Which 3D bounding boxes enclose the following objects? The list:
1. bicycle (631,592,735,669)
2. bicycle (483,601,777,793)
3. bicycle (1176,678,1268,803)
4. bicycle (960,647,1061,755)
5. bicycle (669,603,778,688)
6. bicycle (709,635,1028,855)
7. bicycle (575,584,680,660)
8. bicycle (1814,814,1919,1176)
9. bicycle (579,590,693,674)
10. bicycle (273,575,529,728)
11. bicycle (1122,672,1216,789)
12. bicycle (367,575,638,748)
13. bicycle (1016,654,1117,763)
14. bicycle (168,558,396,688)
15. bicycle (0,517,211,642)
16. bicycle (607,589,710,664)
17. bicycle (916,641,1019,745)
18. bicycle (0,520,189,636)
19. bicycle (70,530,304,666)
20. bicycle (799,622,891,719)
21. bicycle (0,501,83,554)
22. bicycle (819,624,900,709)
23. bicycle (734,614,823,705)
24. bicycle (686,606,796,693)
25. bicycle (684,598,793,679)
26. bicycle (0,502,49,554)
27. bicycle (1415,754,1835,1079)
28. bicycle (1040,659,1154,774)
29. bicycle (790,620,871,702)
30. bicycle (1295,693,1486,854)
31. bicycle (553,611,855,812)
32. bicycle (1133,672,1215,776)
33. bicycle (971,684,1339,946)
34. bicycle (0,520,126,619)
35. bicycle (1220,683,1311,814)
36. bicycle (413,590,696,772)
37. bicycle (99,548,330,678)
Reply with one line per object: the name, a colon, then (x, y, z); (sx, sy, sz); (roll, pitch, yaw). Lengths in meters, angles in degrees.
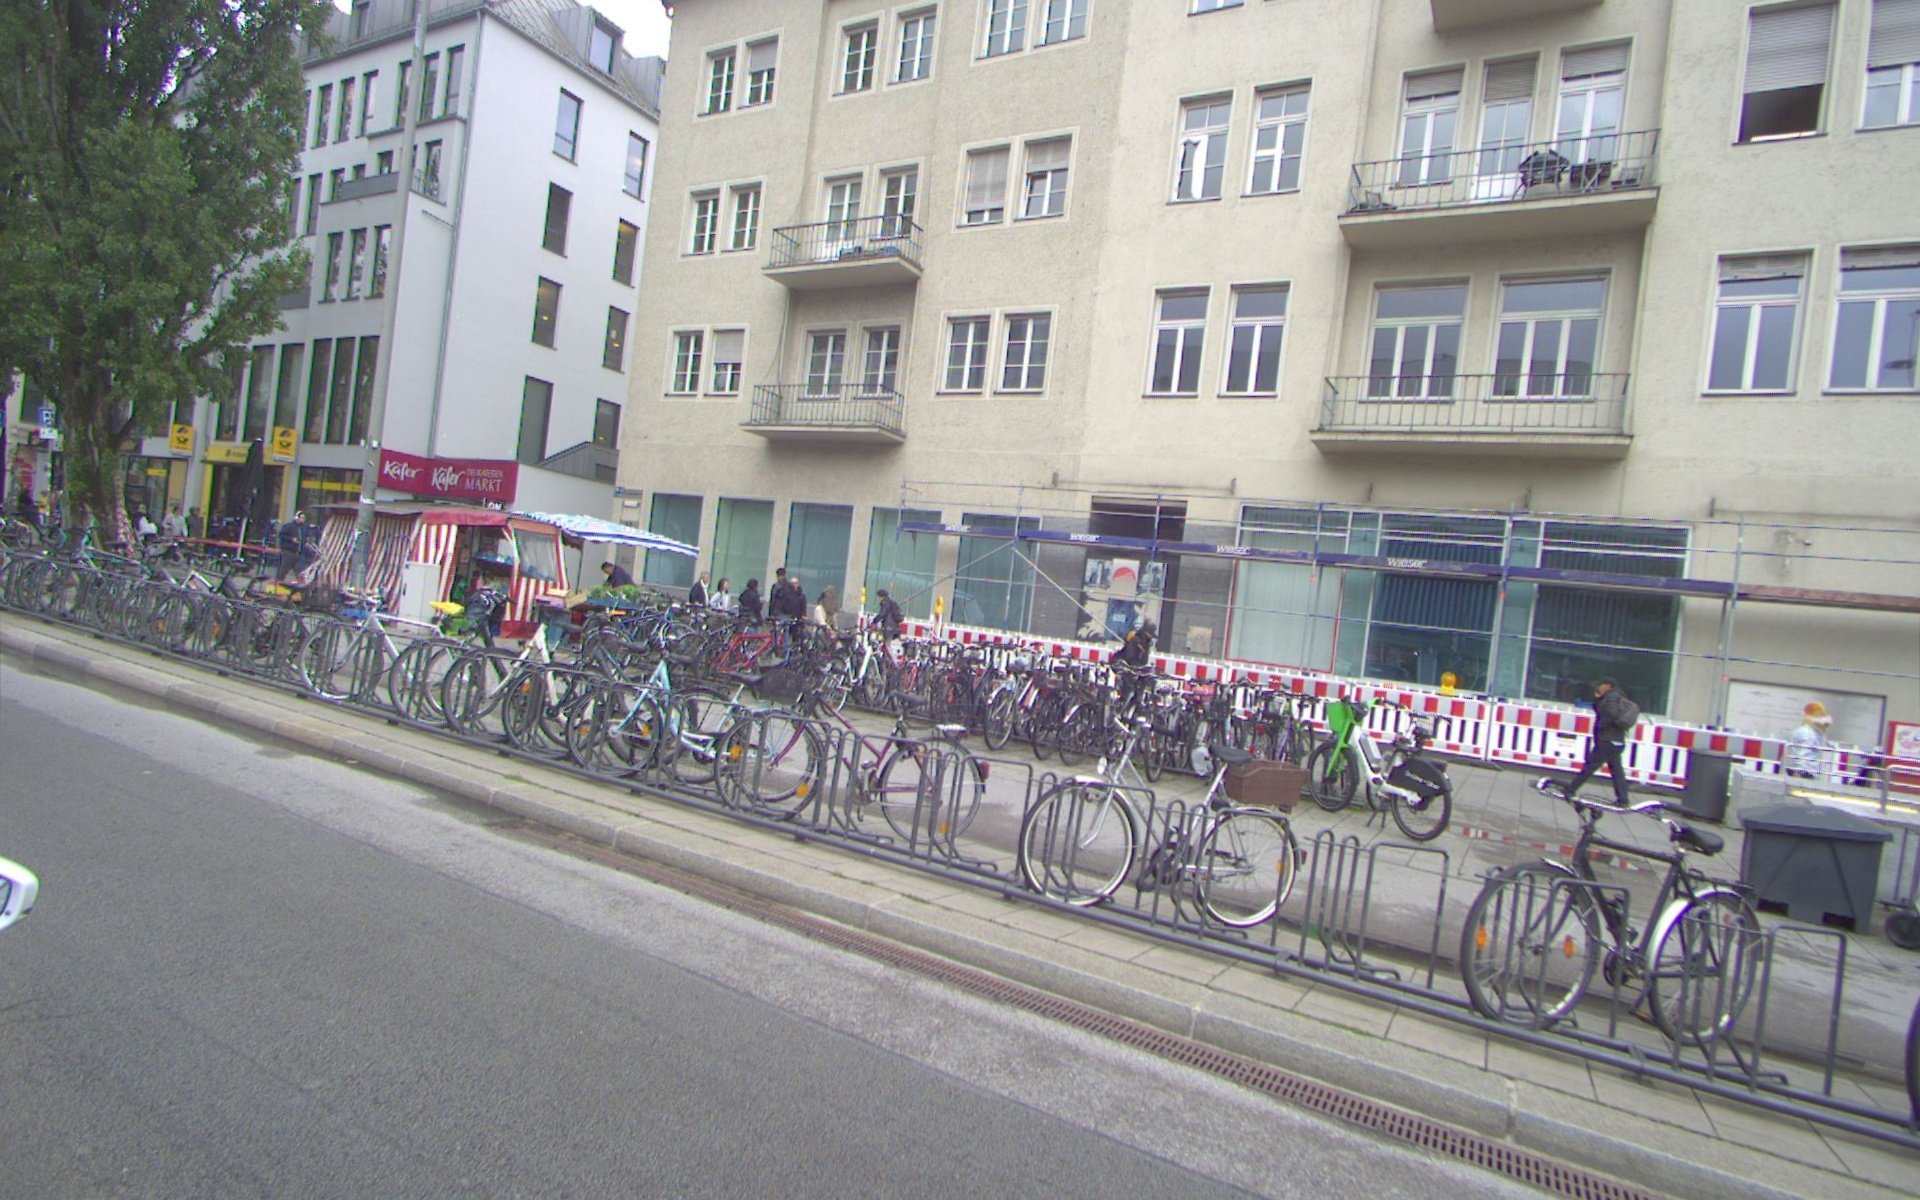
bicycle: (-4.334, 0.499, 15.850); (0.403, 1.117, 1.630); (7, 1, 32)
bicycle: (-2.341, 0.704, 7.294); (1.825, 1.070, 0.396); (11, -2, -15)
bicycle: (2.654, 1.364, 10.096); (0.403, 1.091, 1.603); (7, 1, 29)
bicycle: (0.602, 1.114, 11.392); (0.403, 1.091, 1.526); (7, 1, 29)
bicycle: (-3.258, 0.653, 13.973); (0.404, 1.091, 1.478); (7, 1, 35)
bicycle: (-0.569, 0.919, 6.359); (1.825, 1.070, 0.396); (11, -2, -15)
bicycle: (-5.402, 0.382, 16.434); (0.404, 1.117, 1.628); (7, 1, 35)
bicycle: (4.076, 1.475, 3.733); (1.773, 1.150, 0.587); (8, -1, -24)
bicycle: (-4.655, 0.482, 14.513); (1.465, 1.091, 0.405); (6, 1, -44)
bicycle: (-4.811, 0.464, 8.782); (1.779, 1.021, 0.384); (11, -2, -21)
bicycle: (2.233, 1.329, 10.607); (0.403, 1.091, 1.623); (7, 1, 29)
bicycle: (-3.597, 0.502, 8.041); (1.779, 1.070, 0.395); (11, -2, -21)
bicycle: (1.221, 1.177, 11.276); (0.403, 1.091, 1.659); (7, 1, 29)
bicycle: (-6.953, 0.248, 10.399); (1.779, 1.021, 0.384); (11, -2, -21)
bicycle: (-10.113, -0.221, 11.899); (1.779, 1.117, 0.544); (11, -2, -21)
bicycle: (-4.854, 0.449, 16.293); (0.403, 1.117, 1.630); (7, 1, 32)
bicycle: (0.116, 1.062, 11.705); (0.403, 1.091, 1.537); (7, 1, 29)
bicycle: (-10.623, -0.256, 12.264); (1.779, 1.065, 0.365); (11, -2, -22)
bicycle: (-8.300, -0.001, 10.892); (1.779, 1.117, 0.544); (11, -2, -21)
bicycle: (-1.404, 0.860, 12.526); (0.403, 1.091, 1.452); (7, 1, 22)
bicycle: (-25.050, -1.966, 27.377); (0.696, 1.174, 1.625); (7, -1, 44)
bicycle: (-1.393, 0.914, 14.120); (0.403, 1.091, 1.452); (7, 1, 22)
bicycle: (-2.361, 0.762, 13.214); (0.402, 1.091, 1.453); (6, 1, 18)
bicycle: (-2.937, 0.689, 13.601); (0.404, 1.091, 1.447); (7, 1, 38)
bicycle: (-3.333, 0.606, 15.250); (0.404, 1.117, 1.627); (7, 1, 39)
bicycle: (-24.230, -1.875, 26.011); (1.606, 1.174, 0.478); (7, 0, 31)
bicycle: (2.885, 1.343, 4.332); (1.771, 1.150, 0.487); (8, -1, -22)
bicycle: (1.499, 1.217, 10.772); (0.404, 1.091, 1.634); (7, 1, 35)
bicycle: (-1.849, 0.872, 14.568); (0.403, 1.091, 1.452); (7, 1, 22)
bicycle: (3.802, 1.504, 9.063); (0.404, 1.091, 1.754); (6, 1, -19)
bicycle: (-1.733, 0.771, 6.957); (1.825, 1.070, 0.396); (11, -2, -15)
bicycle: (2.537, 1.418, 11.818); (0.403, 1.091, 1.528); (7, 1, 29)
bicycle: (1.036, 1.141, 5.335); (1.768, 1.150, 0.488); (8, -1, -16)
bicycle: (-12.349, -0.440, 13.325); (1.779, 1.065, 0.544); (11, -2, -21)
bicycle: (3.011, 1.400, 9.829); (0.403, 1.091, 1.653); (7, 1, 29)
bicycle: (-3.052, 0.628, 7.720); (1.825, 1.070, 0.396); (11, -2, -15)
bicycle: (-7.736, 0.150, 10.512); (1.777, 1.021, 0.385); (11, -2, -17)
